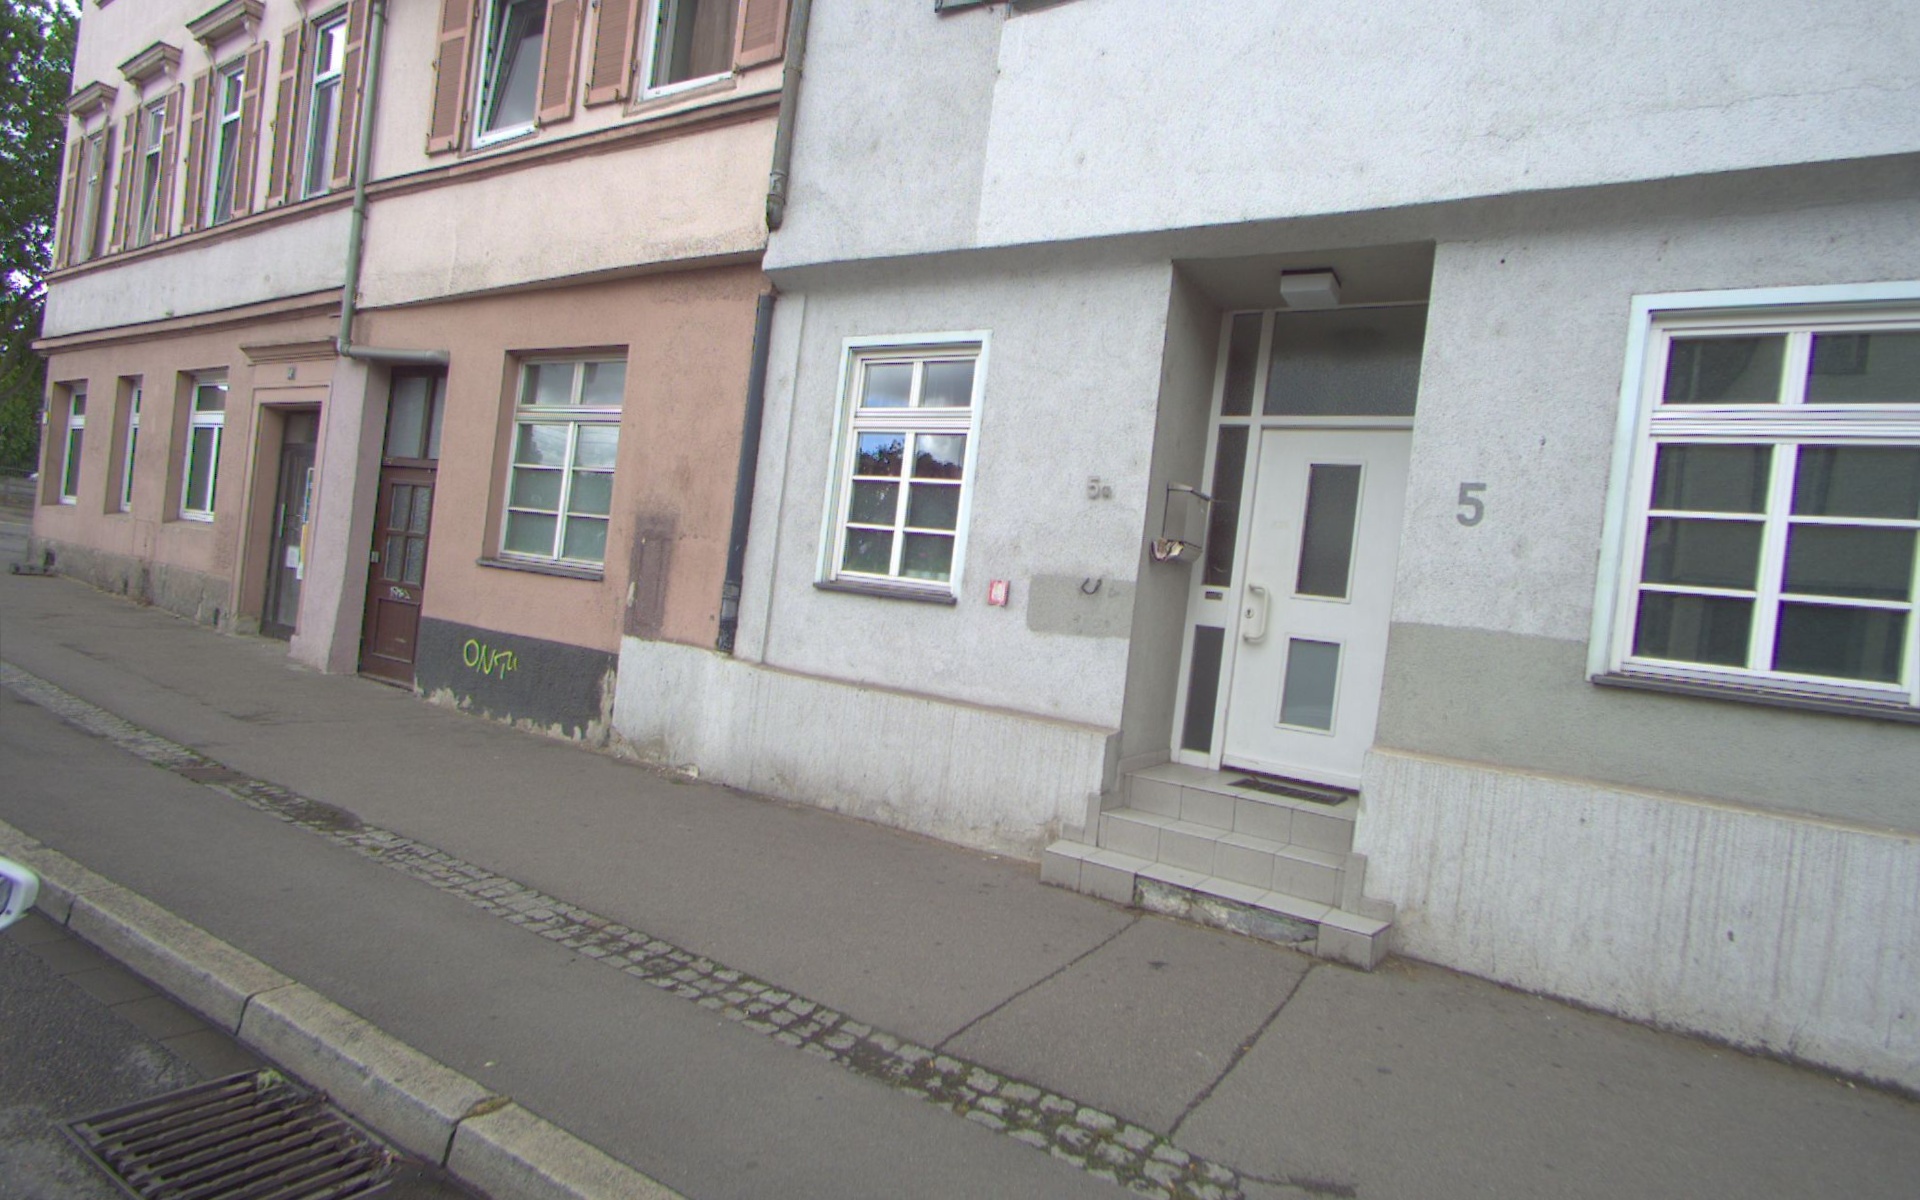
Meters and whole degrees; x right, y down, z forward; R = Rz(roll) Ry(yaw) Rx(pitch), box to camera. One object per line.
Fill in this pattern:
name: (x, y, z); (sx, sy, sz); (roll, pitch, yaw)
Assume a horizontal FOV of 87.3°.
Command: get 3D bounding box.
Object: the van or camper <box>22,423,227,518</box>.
van or camper: (-31.086, -4.752, 37.658); (2.002, 2.544, 5.400); (5, -1, 30)
